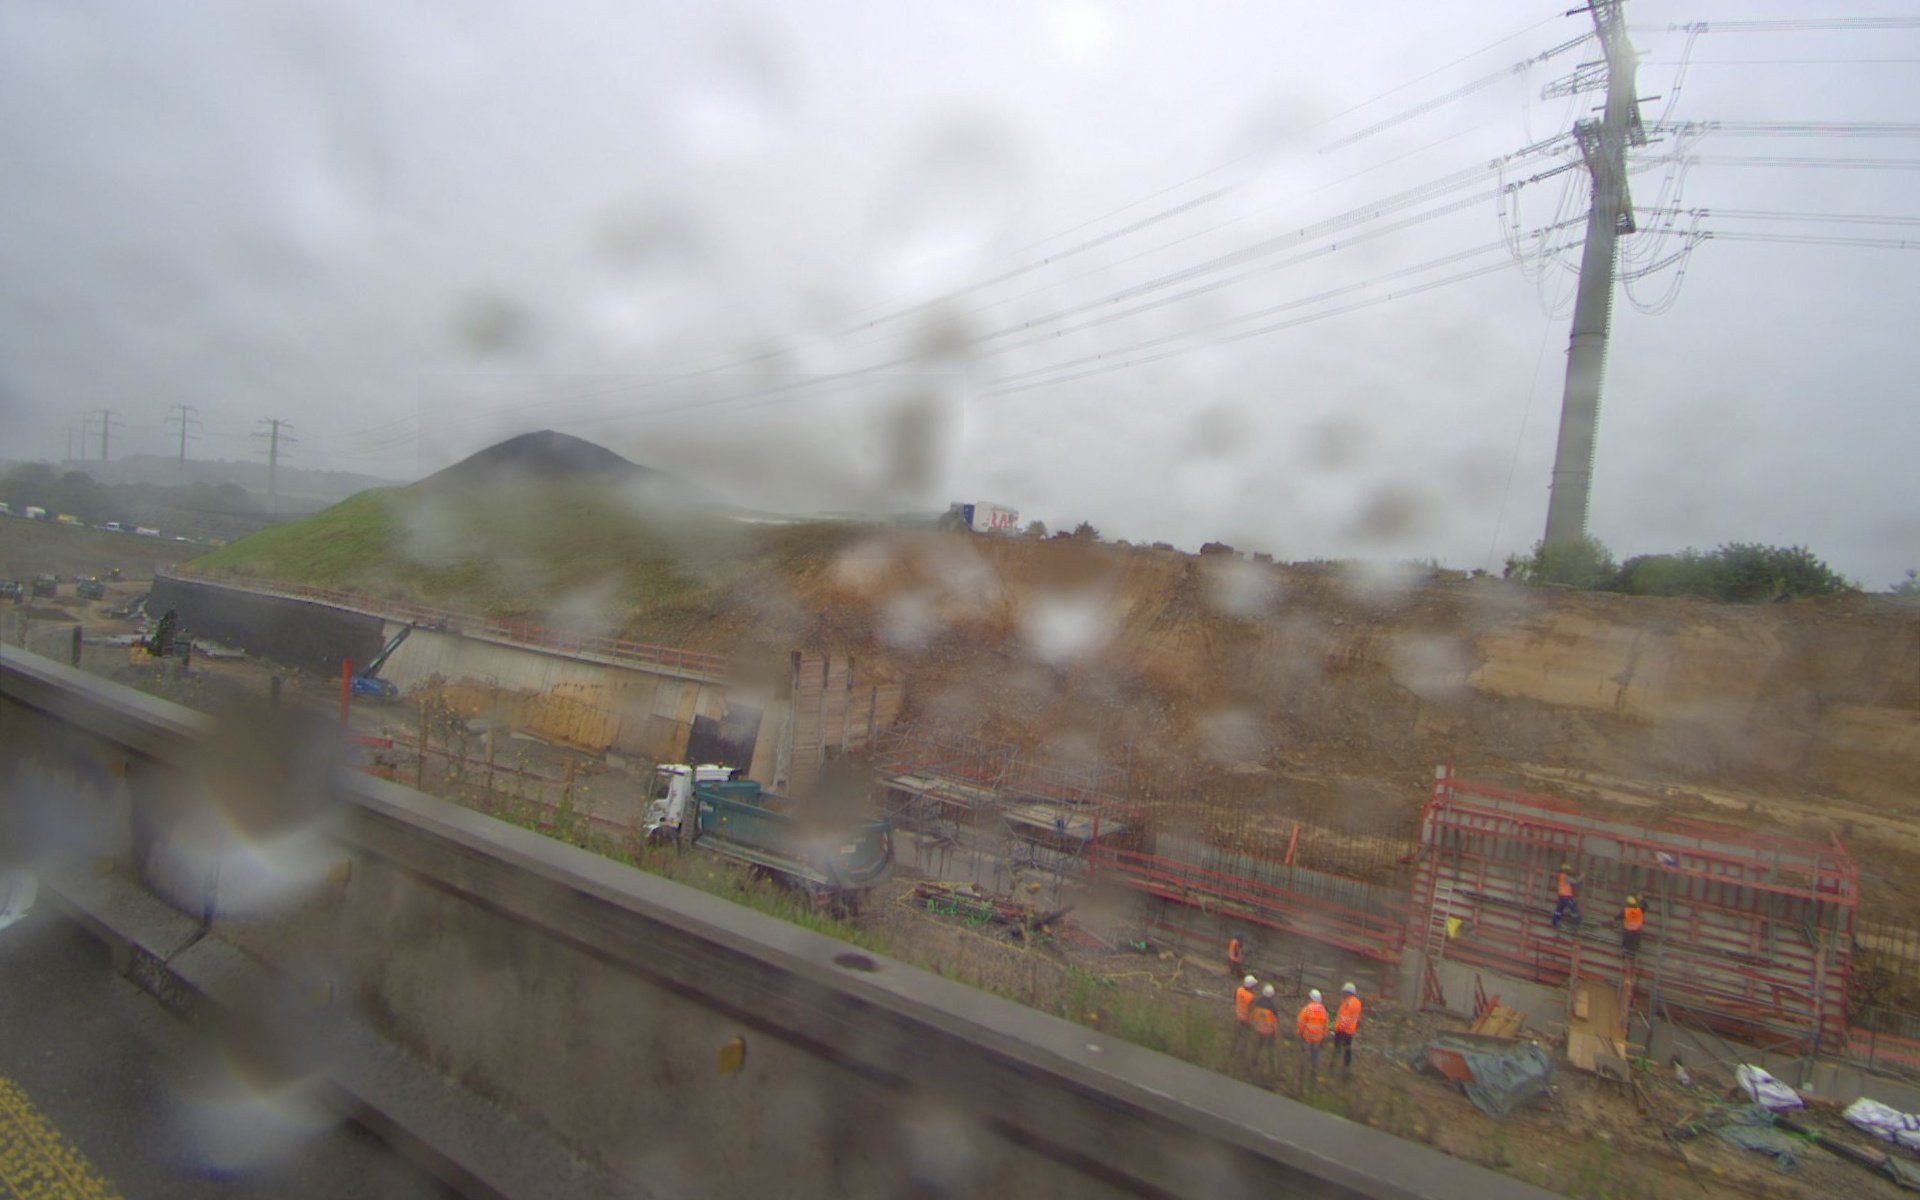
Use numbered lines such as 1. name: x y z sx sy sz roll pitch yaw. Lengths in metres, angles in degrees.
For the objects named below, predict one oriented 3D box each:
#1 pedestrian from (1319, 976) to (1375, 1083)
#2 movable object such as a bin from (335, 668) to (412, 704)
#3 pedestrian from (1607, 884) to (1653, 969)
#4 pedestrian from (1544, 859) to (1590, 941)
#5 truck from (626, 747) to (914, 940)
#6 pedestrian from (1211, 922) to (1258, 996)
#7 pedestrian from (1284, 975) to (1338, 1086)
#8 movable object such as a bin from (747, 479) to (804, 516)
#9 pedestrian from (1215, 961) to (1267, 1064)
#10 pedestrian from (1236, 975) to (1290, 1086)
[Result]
1. pedestrian: 8.062 8.931 20.966 0.725 1.967 0.573 7 -1 -21
2. movable object such as a bin: -39.166 5.757 67.243 3.772 2.036 2.001 6 -4 -5
3. pedestrian: 18.189 8.840 27.308 0.885 2.013 0.908 5 -11 36
4. pedestrian: 17.014 8.413 28.204 0.885 2.013 0.908 5 -11 36
5. truck: -5.874 6.873 29.890 8.926 3.532 2.731 5 -2 36
6. pedestrian: 8.559 11.160 31.338 0.891 2.013 0.901 5 -11 35
7. pedestrian: 7.188 8.814 20.648 0.721 1.967 0.575 6 0 3
8. movable object such as a bin: -15.208 -8.413 82.844 3.910 2.473 2.428 8 0 39
9. pedestrian: 6.011 8.803 21.525 0.567 1.892 0.731 7 -1 -22
10. pedestrian: 6.214 8.794 20.603 0.724 1.892 0.573 6 -1 38
